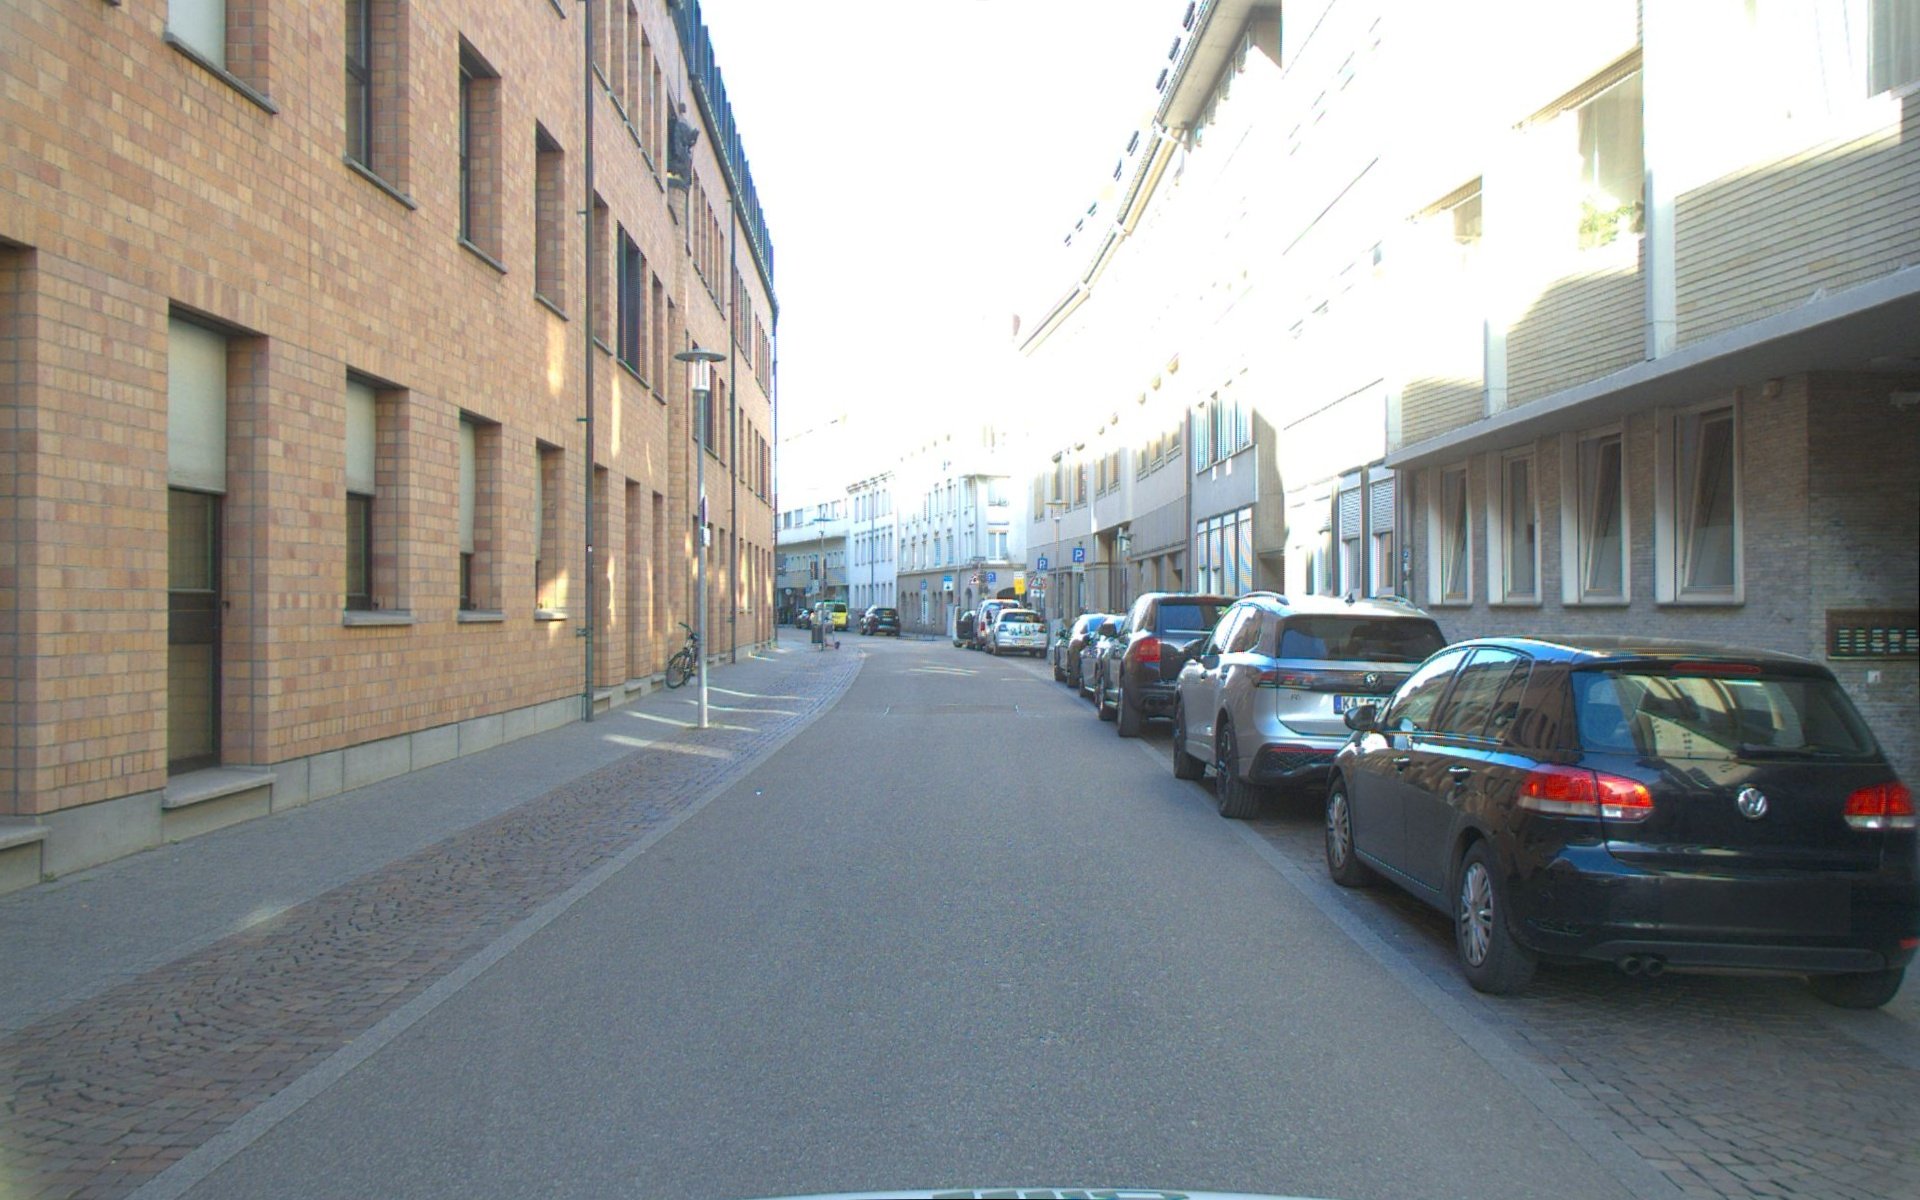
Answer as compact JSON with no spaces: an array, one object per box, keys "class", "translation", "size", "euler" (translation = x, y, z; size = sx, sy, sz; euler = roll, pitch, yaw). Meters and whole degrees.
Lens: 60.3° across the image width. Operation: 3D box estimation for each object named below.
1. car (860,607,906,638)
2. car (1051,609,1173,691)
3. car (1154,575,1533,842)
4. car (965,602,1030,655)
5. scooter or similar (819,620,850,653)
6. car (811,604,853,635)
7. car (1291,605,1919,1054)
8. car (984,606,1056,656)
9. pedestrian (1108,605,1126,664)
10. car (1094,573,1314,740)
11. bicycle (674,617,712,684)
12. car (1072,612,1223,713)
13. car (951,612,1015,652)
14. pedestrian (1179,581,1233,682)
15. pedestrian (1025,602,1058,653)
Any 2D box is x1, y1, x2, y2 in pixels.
[{"class":"car","translation":[-4.504,1.276,96.137],"size":[1.933,1.722,4.088],"euler":[2,-1,-12]},{"class":"car","translation":[2.966,0.944,33.258],"size":[1.855,1.478,5.224],"euler":[2,0,-1]},{"class":"car","translation":[2.886,0.750,13.639],"size":[1.953,1.731,4.843],"euler":[2,0,0]},{"class":"car","translation":[1.342,1.030,60.609],"size":[1.795,1.822,5.208],"euler":[1,-1,-5]},{"class":"scooter or similar","translation":[-4.879,1.412,64.284],"size":[0.683,1.239,1.357],"euler":[-1,-1,22]},{"class":"car","translation":[-8.690,1.302,112.181],"size":[2.020,2.049,4.155],"euler":[0,0,-17]},{"class":"car","translation":[3.010,0.840,8.222],"size":[1.785,1.531,4.599],"euler":[3,0,1]},{"class":"car","translation":[1.920,0.986,54.336],"size":[1.805,1.504,4.163],"euler":[2,-1,-5]},{"class":"pedestrian","translation":[4.535,0.981,47.727],"size":[0.470,1.683,0.539],"euler":[-1,-1,11]},{"class":"car","translation":[2.938,0.643,21.044],"size":[2.060,1.817,5.051],"euler":[1,0,0]},{"class":"bicycle","translation":[-5.024,0.935,31.138],"size":[0.619,1.183,1.800],"euler":[3,0,-9]},{"class":"car","translation":[2.981,0.959,27.223],"size":[1.771,1.437,4.788],"euler":[2,0,-2]},{"class":"car","translation":[0.880,1.266,66.528],"size":[1.854,1.545,4.053],"euler":[1,-1,-10]},{"class":"pedestrian","translation":[4.359,0.550,29.344],"size":[0.772,1.751,0.746],"euler":[-2,0,-1]},{"class":"pedestrian","translation":[2.965,0.991,60.262],"size":[1.022,1.833,1.197],"euler":[0,-1,-5]}]
